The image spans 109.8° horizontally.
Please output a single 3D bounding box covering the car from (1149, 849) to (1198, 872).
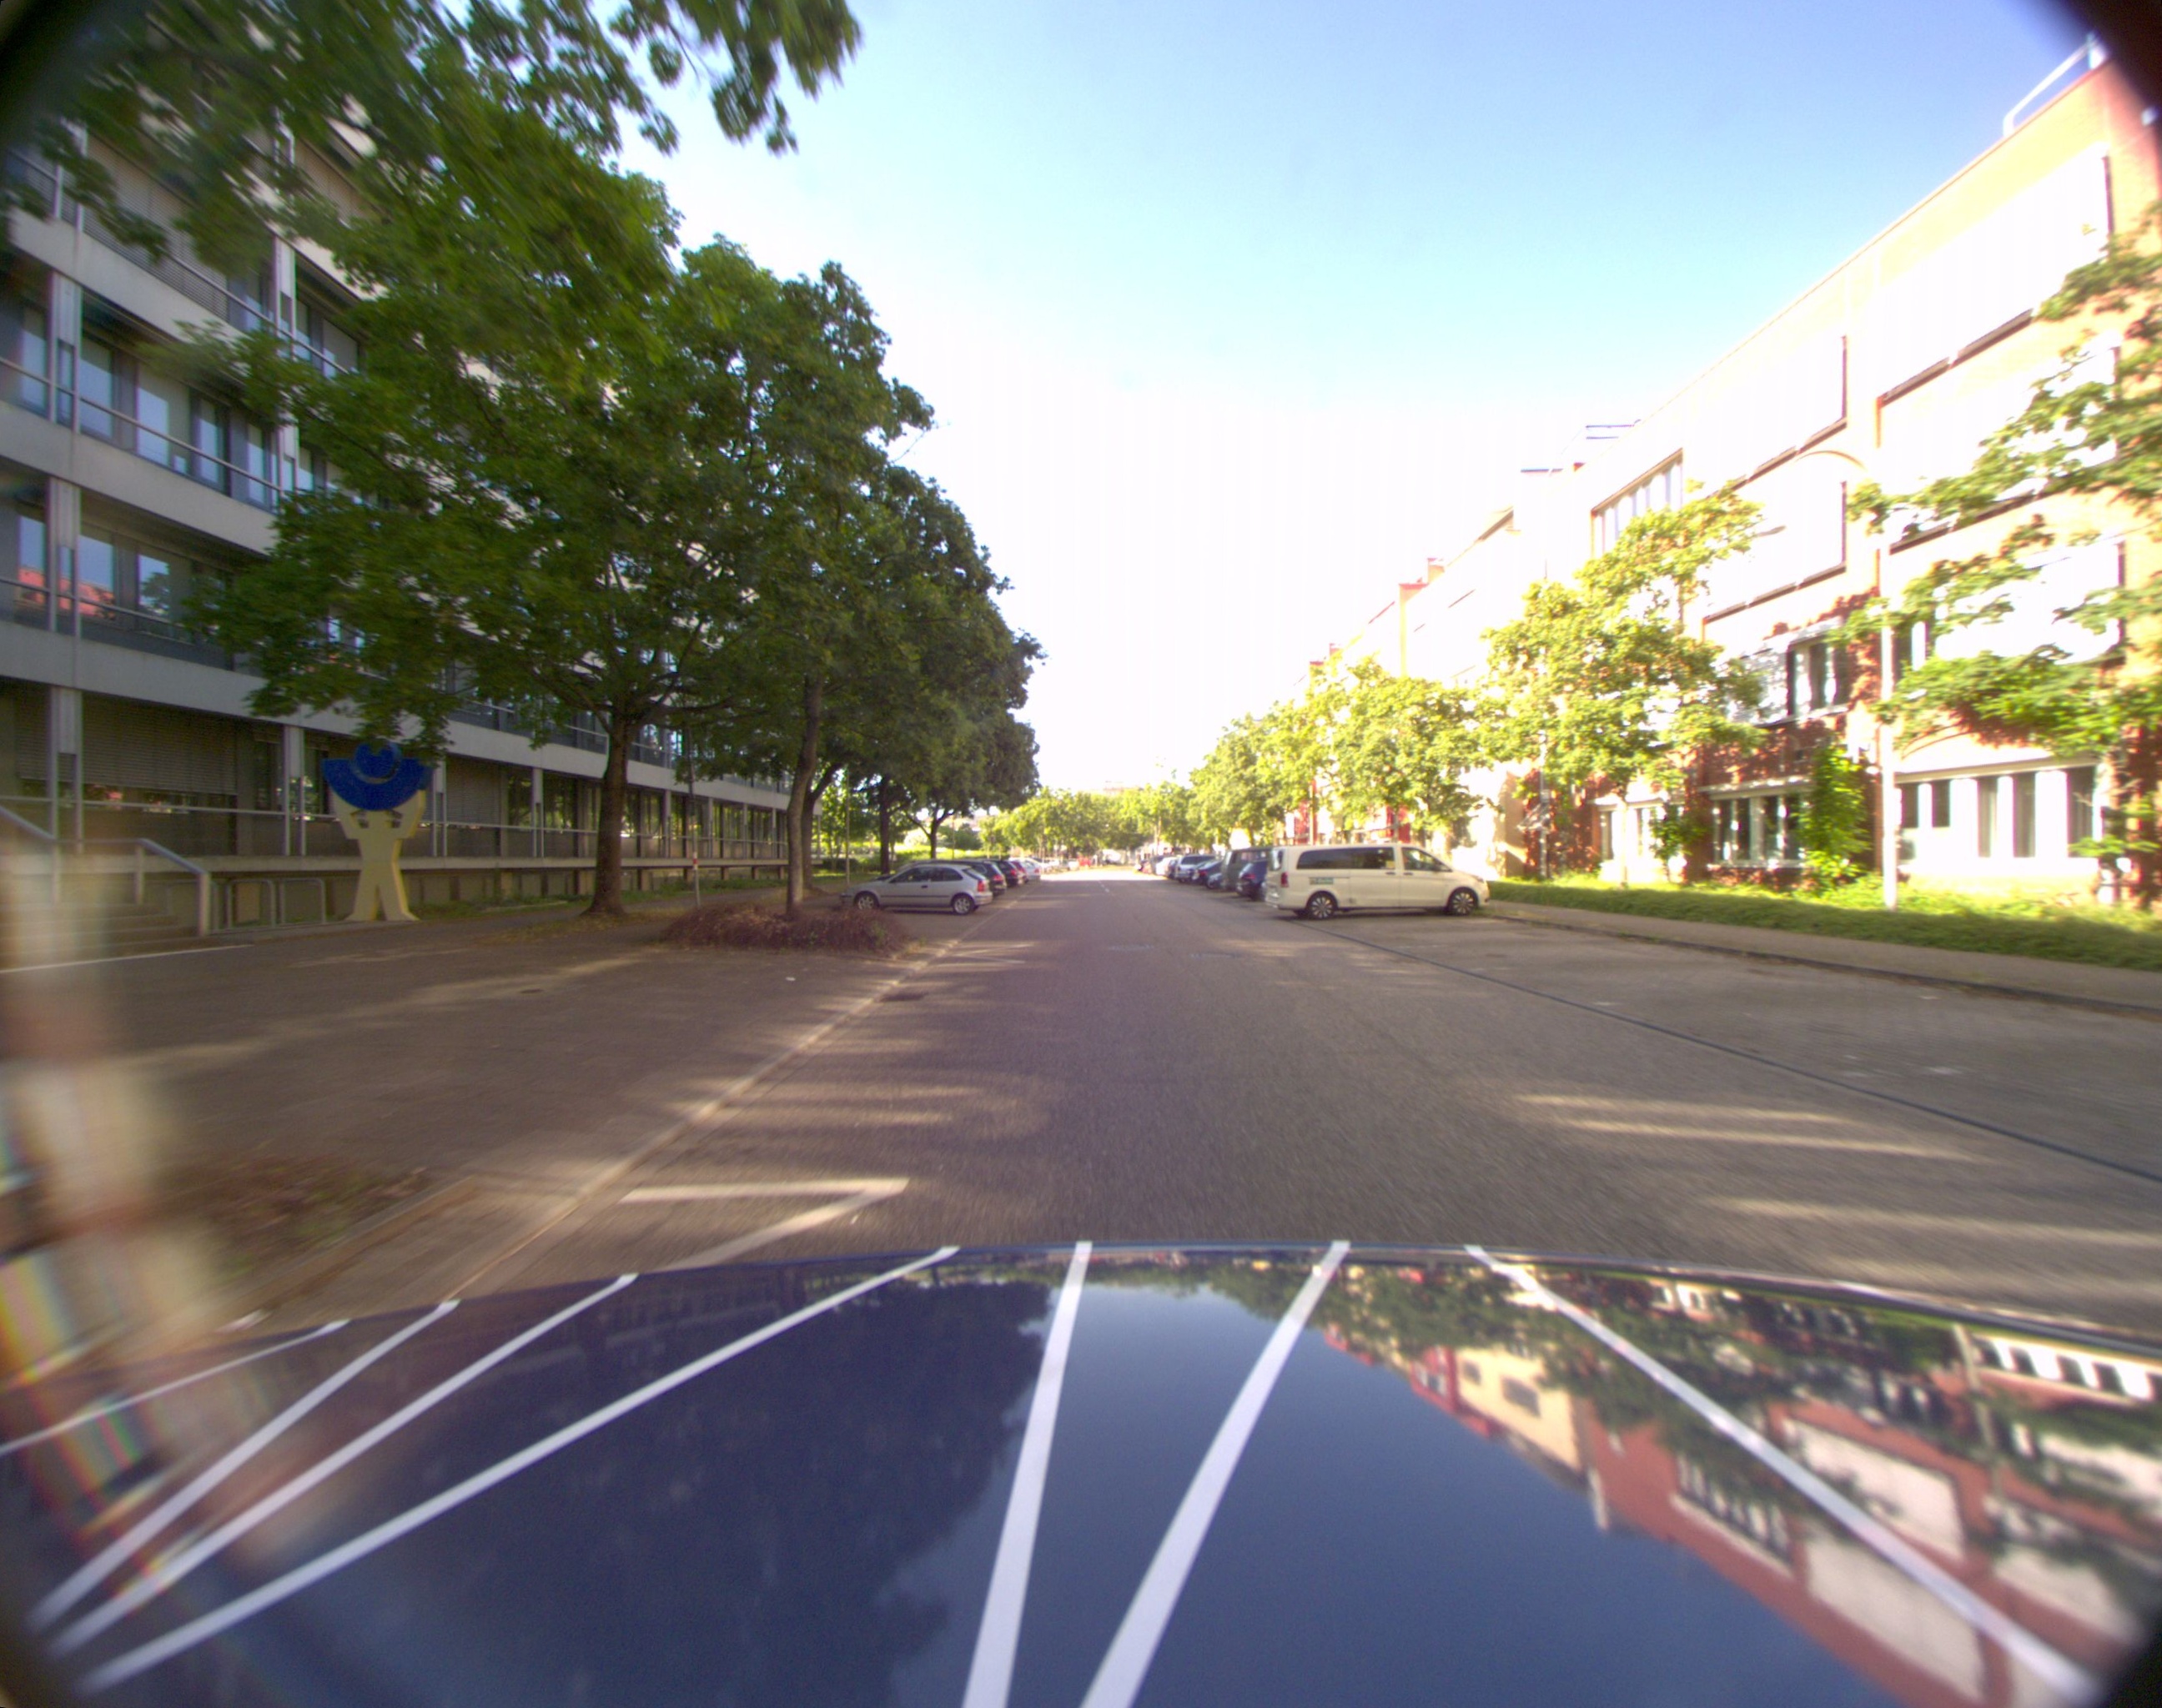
[{"bbox_3d":[7.840,0.573,64.420,3.901,1.800,1.786,-2,0,0],"label":"car"}]

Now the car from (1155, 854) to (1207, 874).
[{"bbox_3d":[7.783,0.775,59.250,3.736,1.438,1.875,-2,0,-3],"label":"car"}]

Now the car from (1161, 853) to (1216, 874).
[{"bbox_3d":[8.036,0.727,56.894,3.736,1.438,1.859,-2,0,-3],"label":"car"}]

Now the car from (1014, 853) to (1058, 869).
[{"bbox_3d":[-4.846,0.725,82.075,4.560,1.506,2.158,2,1,1],"label":"car"}]

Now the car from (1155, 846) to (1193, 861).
[{"bbox_3d":[12.950,-0.028,105.897,4.776,1.973,1.996,-1,-1,-23],"label":"car"}]

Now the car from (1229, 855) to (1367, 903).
[{"bbox_3d":[7.565,0.858,26.827,4.331,1.469,1.943,-2,0,2],"label":"car"}]

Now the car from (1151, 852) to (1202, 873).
[{"bbox_3d":[7.771,0.675,61.852,3.901,1.565,1.859,-2,0,0],"label":"car"}]

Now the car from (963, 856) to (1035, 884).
[{"bbox_3d":[-4.707,0.906,43.973,3.846,1.438,1.922,1,0,4],"label":"car"}]

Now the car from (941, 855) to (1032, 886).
[{"bbox_3d":[-5.076,0.867,41.130,4.525,1.533,1.922,1,0,4],"label":"car"}]

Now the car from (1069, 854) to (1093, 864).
[{"bbox_3d":[-0.002,0.798,121.635,3.438,1.535,1.629,3,1,14],"label":"car"}]

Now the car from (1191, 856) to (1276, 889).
[{"bbox_3d":[7.323,0.882,36.627,3.735,1.419,1.725,-2,0,1],"label":"car"}]

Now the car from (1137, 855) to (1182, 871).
[{"bbox_3d":[7.598,0.838,74.039,4.272,1.415,1.740,-2,0,4],"label":"car"}]

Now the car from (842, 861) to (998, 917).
[{"bbox_3d":[-4.449,0.952,21.350,3.979,1.411,1.710,1,0,0],"label":"car"}]

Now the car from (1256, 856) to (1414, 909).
[{"bbox_3d":[7.952,0.865,24.101,4.331,1.469,1.943,-2,0,2],"label":"car"}]

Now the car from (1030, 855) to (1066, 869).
[{"bbox_3d":[-4.035,0.958,92.363,4.096,1.421,1.643,4,1,7],"label":"car"}]

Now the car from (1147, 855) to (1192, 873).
[{"bbox_3d":[8.041,0.897,69.292,3.901,1.415,1.739,-2,0,0],"label":"car"}]

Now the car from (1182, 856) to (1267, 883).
[{"bbox_3d":[7.861,0.833,41.871,4.332,1.350,1.757,-2,0,-1],"label":"car"}]

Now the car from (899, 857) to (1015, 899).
[{"bbox_3d":[-4.726,0.916,29.522,4.298,1.484,2.003,1,0,-5],"label":"car"}]

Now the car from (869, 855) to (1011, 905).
[{"bbox_3d":[-4.816,0.881,26.445,4.604,1.484,1.762,2,0,-2],"label":"car"}]

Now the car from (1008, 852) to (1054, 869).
[{"bbox_3d":[-5.135,0.689,77.084,4.563,1.506,1.981,2,1,-6],"label":"car"}]

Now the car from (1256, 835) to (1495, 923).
[{"bbox_3d":[7.314,0.616,19.300,5.270,1.955,1.943,-2,0,2],"label":"car"}]

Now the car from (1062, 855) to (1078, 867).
[{"bbox_3d":[-1.418,0.927,100.252,1.813,1.485,4.624,3,0,2],"label":"car"}]

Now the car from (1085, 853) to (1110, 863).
[{"bbox_3d":[2.913,0.753,134.062,4.199,1.537,1.861,3,1,14],"label":"car"}]

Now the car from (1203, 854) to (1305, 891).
[{"bbox_3d":[7.735,0.817,34.180,4.142,1.519,1.725,-2,0,0],"label":"car"}]

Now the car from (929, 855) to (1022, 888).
[{"bbox_3d":[-5.276,0.864,38.598,4.528,1.533,1.921,1,0,-4],"label":"car"}]

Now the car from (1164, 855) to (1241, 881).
[{"bbox_3d":[7.390,0.869,46.497,4.414,1.419,1.772,-2,0,-2],"label":"car"}]

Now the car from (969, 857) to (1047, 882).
[{"bbox_3d":[-4.415,0.949,46.506,4.589,1.467,1.747,0,0,0],"label":"car"}]

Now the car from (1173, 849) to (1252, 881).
[{"bbox_3d":[7.577,0.644,44.214,4.330,1.707,1.963,-2,0,5],"label":"car"}]

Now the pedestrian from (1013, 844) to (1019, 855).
[{"bbox_3d":[-9.273,-0.646,108.835,0.607,1.533,0.938,0,1,8],"label":"pedestrian"}]

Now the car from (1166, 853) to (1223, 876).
[{"bbox_3d":[8.055,0.708,54.319,3.736,1.500,1.859,-2,0,-1],"label":"car"}]

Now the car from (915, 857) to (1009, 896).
[{"bbox_3d":[-4.924,0.919,31.806,3.754,1.484,1.616,1,0,-4],"label":"car"}]

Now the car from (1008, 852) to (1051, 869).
[{"bbox_3d":[-5.027,0.603,74.346,3.957,1.506,1.701,2,1,1],"label":"car"}]

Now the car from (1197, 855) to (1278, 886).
[{"bbox_3d":[8.039,0.828,39.240,3.736,1.419,1.725,-2,0,-1],"label":"car"}]

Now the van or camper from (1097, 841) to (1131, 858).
[{"bbox_3d":[6.276,-0.881,144.275,5.991,2.967,2.673,3,1,11],"label":"van or camper"}]

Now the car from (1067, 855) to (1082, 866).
[{"bbox_3d":[-0.900,0.940,108.470,1.646,1.485,3.768,3,0,8],"label":"car"}]

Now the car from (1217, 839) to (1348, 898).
[{"bbox_3d":[7.723,0.540,29.505,4.498,2.077,2.083,-2,0,2],"label":"car"}]
